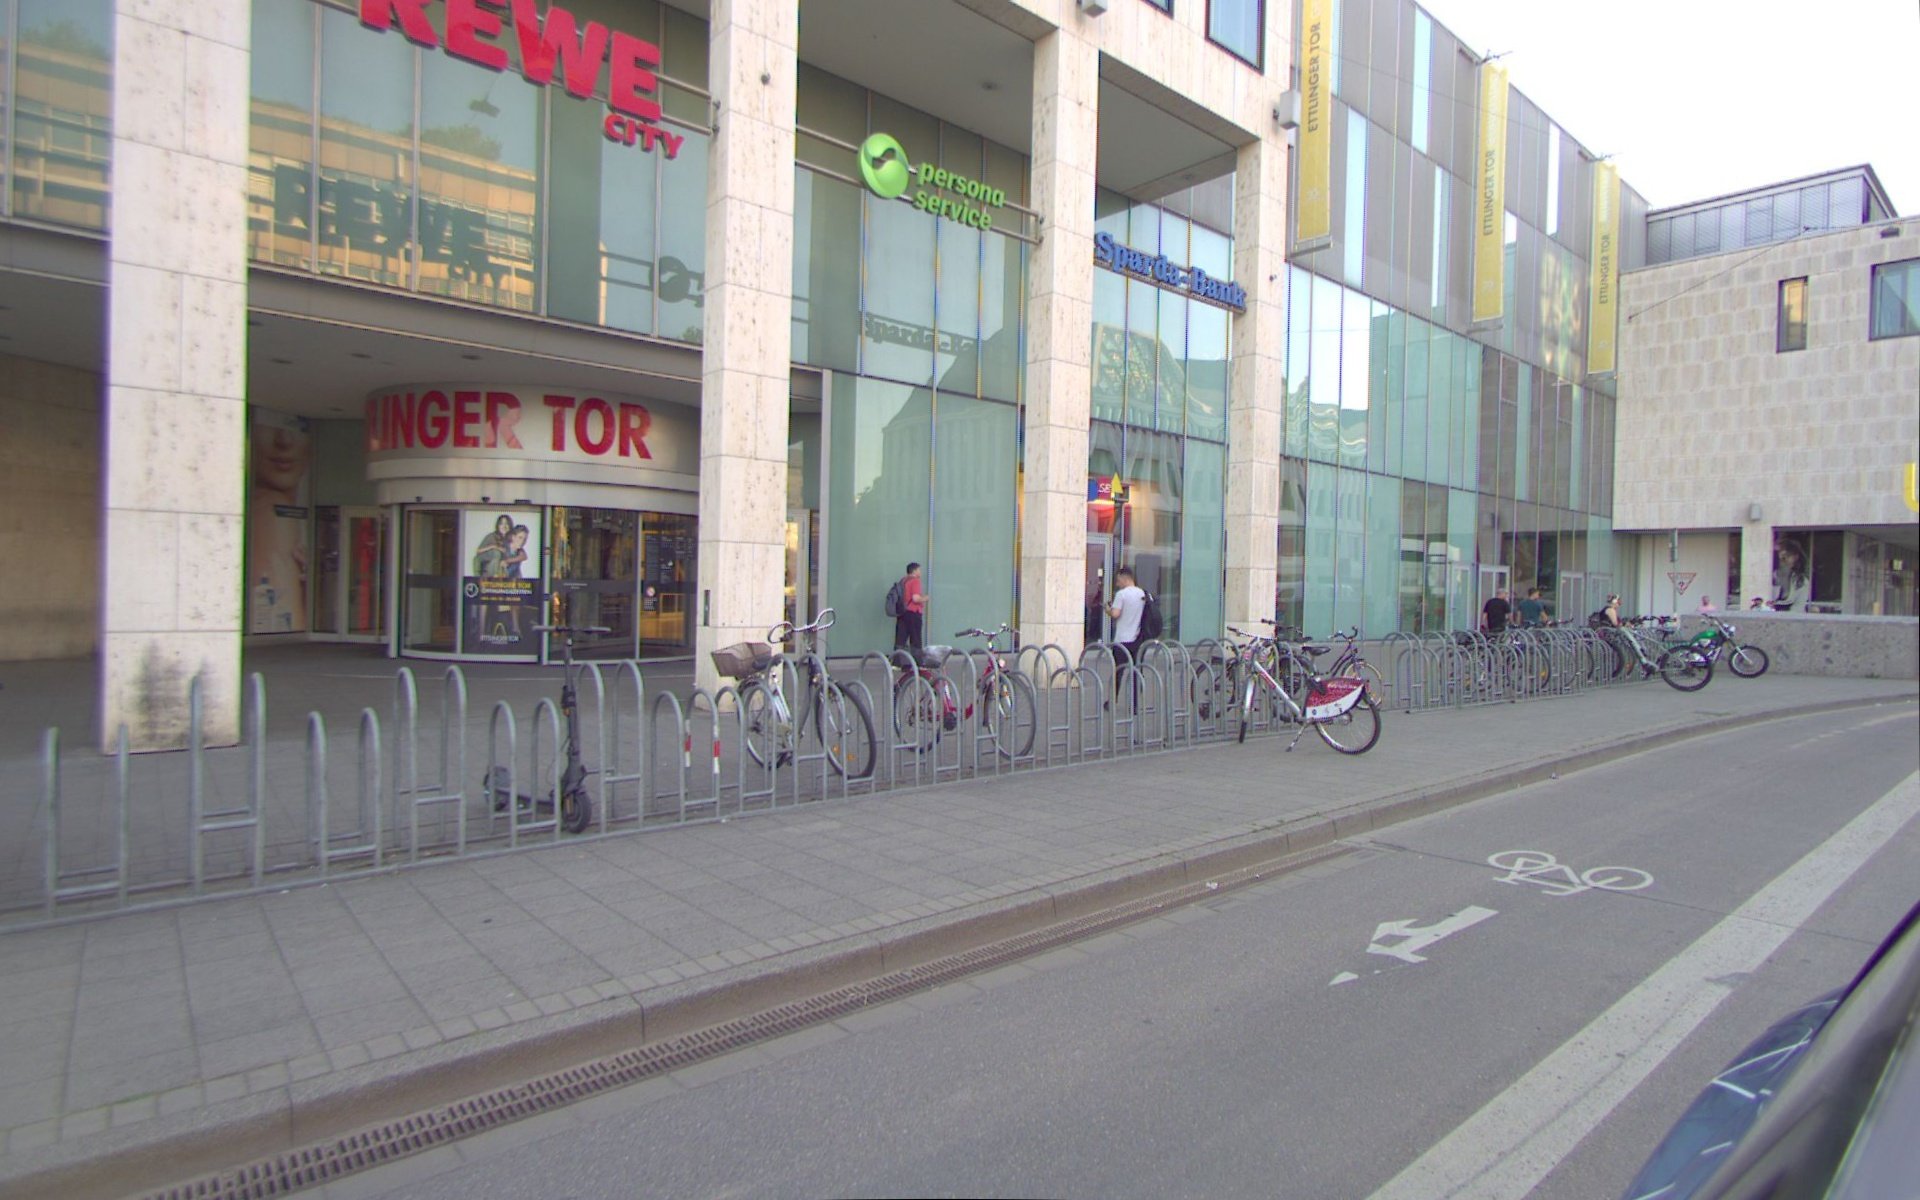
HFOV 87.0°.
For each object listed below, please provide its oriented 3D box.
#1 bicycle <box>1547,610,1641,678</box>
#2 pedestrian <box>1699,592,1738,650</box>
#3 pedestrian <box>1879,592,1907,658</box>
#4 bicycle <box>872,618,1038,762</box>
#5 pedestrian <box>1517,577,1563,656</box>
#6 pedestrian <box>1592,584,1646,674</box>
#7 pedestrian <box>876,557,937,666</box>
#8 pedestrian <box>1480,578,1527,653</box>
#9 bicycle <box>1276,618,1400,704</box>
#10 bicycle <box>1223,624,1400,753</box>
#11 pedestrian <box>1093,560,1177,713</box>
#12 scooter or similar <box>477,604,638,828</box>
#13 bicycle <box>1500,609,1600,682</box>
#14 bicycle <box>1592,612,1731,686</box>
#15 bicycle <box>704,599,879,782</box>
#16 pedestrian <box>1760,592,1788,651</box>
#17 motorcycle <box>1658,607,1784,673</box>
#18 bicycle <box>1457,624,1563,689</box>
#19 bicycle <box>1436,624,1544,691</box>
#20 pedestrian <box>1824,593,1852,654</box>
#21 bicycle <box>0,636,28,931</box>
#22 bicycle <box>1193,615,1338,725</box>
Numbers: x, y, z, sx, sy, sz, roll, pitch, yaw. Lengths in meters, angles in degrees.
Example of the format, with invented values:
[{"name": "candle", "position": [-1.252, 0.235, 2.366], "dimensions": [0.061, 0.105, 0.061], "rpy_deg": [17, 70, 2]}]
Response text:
[{"name": "bicycle", "position": [11.396, 0.770, 18.222], "dimensions": [0.509, 1.179, 1.344], "rpy_deg": [1, -2, -41]}, {"name": "pedestrian", "position": [23.738, 0.641, 31.665], "dimensions": [0.644, 1.765, 0.794], "rpy_deg": [1, 1, -38]}, {"name": "pedestrian", "position": [25.616, 0.679, 27.785], "dimensions": [0.483, 1.765, 0.455], "rpy_deg": [1, 1, -38]}, {"name": "bicycle", "position": [-0.073, 0.715, 8.672], "dimensions": [0.543, 1.120, 1.516], "rpy_deg": [1, -2, -43]}, {"name": "pedestrian", "position": [12.936, 0.351, 22.568], "dimensions": [0.696, 1.717, 0.808], "rpy_deg": [2, 1, 41]}, {"name": "pedestrian", "position": [12.688, 0.545, 19.510], "dimensions": [0.802, 1.663, 0.640], "rpy_deg": [2, 1, 31]}, {"name": "pedestrian", "position": [-0.846, 0.174, 15.992], "dimensions": [0.695, 1.672, 0.629], "rpy_deg": [1, 1, -40]}, {"name": "pedestrian", "position": [12.497, 0.345, 23.268], "dimensions": [0.738, 1.668, 0.808], "rpy_deg": [2, 1, 41]}, {"name": "bicycle", "position": [5.014, 0.782, 13.452], "dimensions": [1.439, 1.078, 0.572], "rpy_deg": [-1, -2, 39]}, {"name": "bicycle", "position": [3.172, 0.761, 9.250], "dimensions": [0.458, 1.077, 1.518], "rpy_deg": [1, -2, -39]}, {"name": "pedestrian", "position": [2.041, 0.399, 11.825], "dimensions": [0.618, 1.713, 0.707], "rpy_deg": [1, 1, -41]}, {"name": "scooter or similar", "position": [-2.517, 0.653, 6.278], "dimensions": [0.484, 1.214, 1.194], "rpy_deg": [1, 1, -44]}, {"name": "bicycle", "position": [9.833, 0.738, 16.898], "dimensions": [0.509, 1.179, 1.344], "rpy_deg": [1, -2, -41]}, {"name": "bicycle", "position": [11.567, 0.775, 16.747], "dimensions": [0.458, 1.161, 1.837], "rpy_deg": [1, -2, -39]}, {"name": "bicycle", "position": [-1.305, 0.627, 7.669], "dimensions": [0.607, 1.243, 1.517], "rpy_deg": [1, -2, -41]}, {"name": "pedestrian", "position": [24.772, 0.654, 30.787], "dimensions": [0.644, 1.765, 0.494], "rpy_deg": [1, 1, -38]}, {"name": "motorcycle", "position": [15.581, 0.791, 20.768], "dimensions": [0.472, 1.239, 2.004], "rpy_deg": [1, 1, -43]}, {"name": "bicycle", "position": [8.457, 0.856, 15.588], "dimensions": [0.509, 0.944, 1.344], "rpy_deg": [1, -2, -41]}, {"name": "bicycle", "position": [7.946, 0.843, 15.209], "dimensions": [0.509, 0.944, 1.344], "rpy_deg": [1, -2, -41]}, {"name": "pedestrian", "position": [25.770, 0.692, 29.706], "dimensions": [0.483, 1.765, 0.504], "rpy_deg": [1, 1, -38]}, {"name": "bicycle", "position": [-4.553, 0.734, 4.480], "dimensions": [1.768, 1.092, 0.475], "rpy_deg": [3, 1, 43]}, {"name": "bicycle", "position": [3.380, 0.743, 11.313], "dimensions": [0.569, 1.138, 1.519], "rpy_deg": [1, -1, -36]}]
